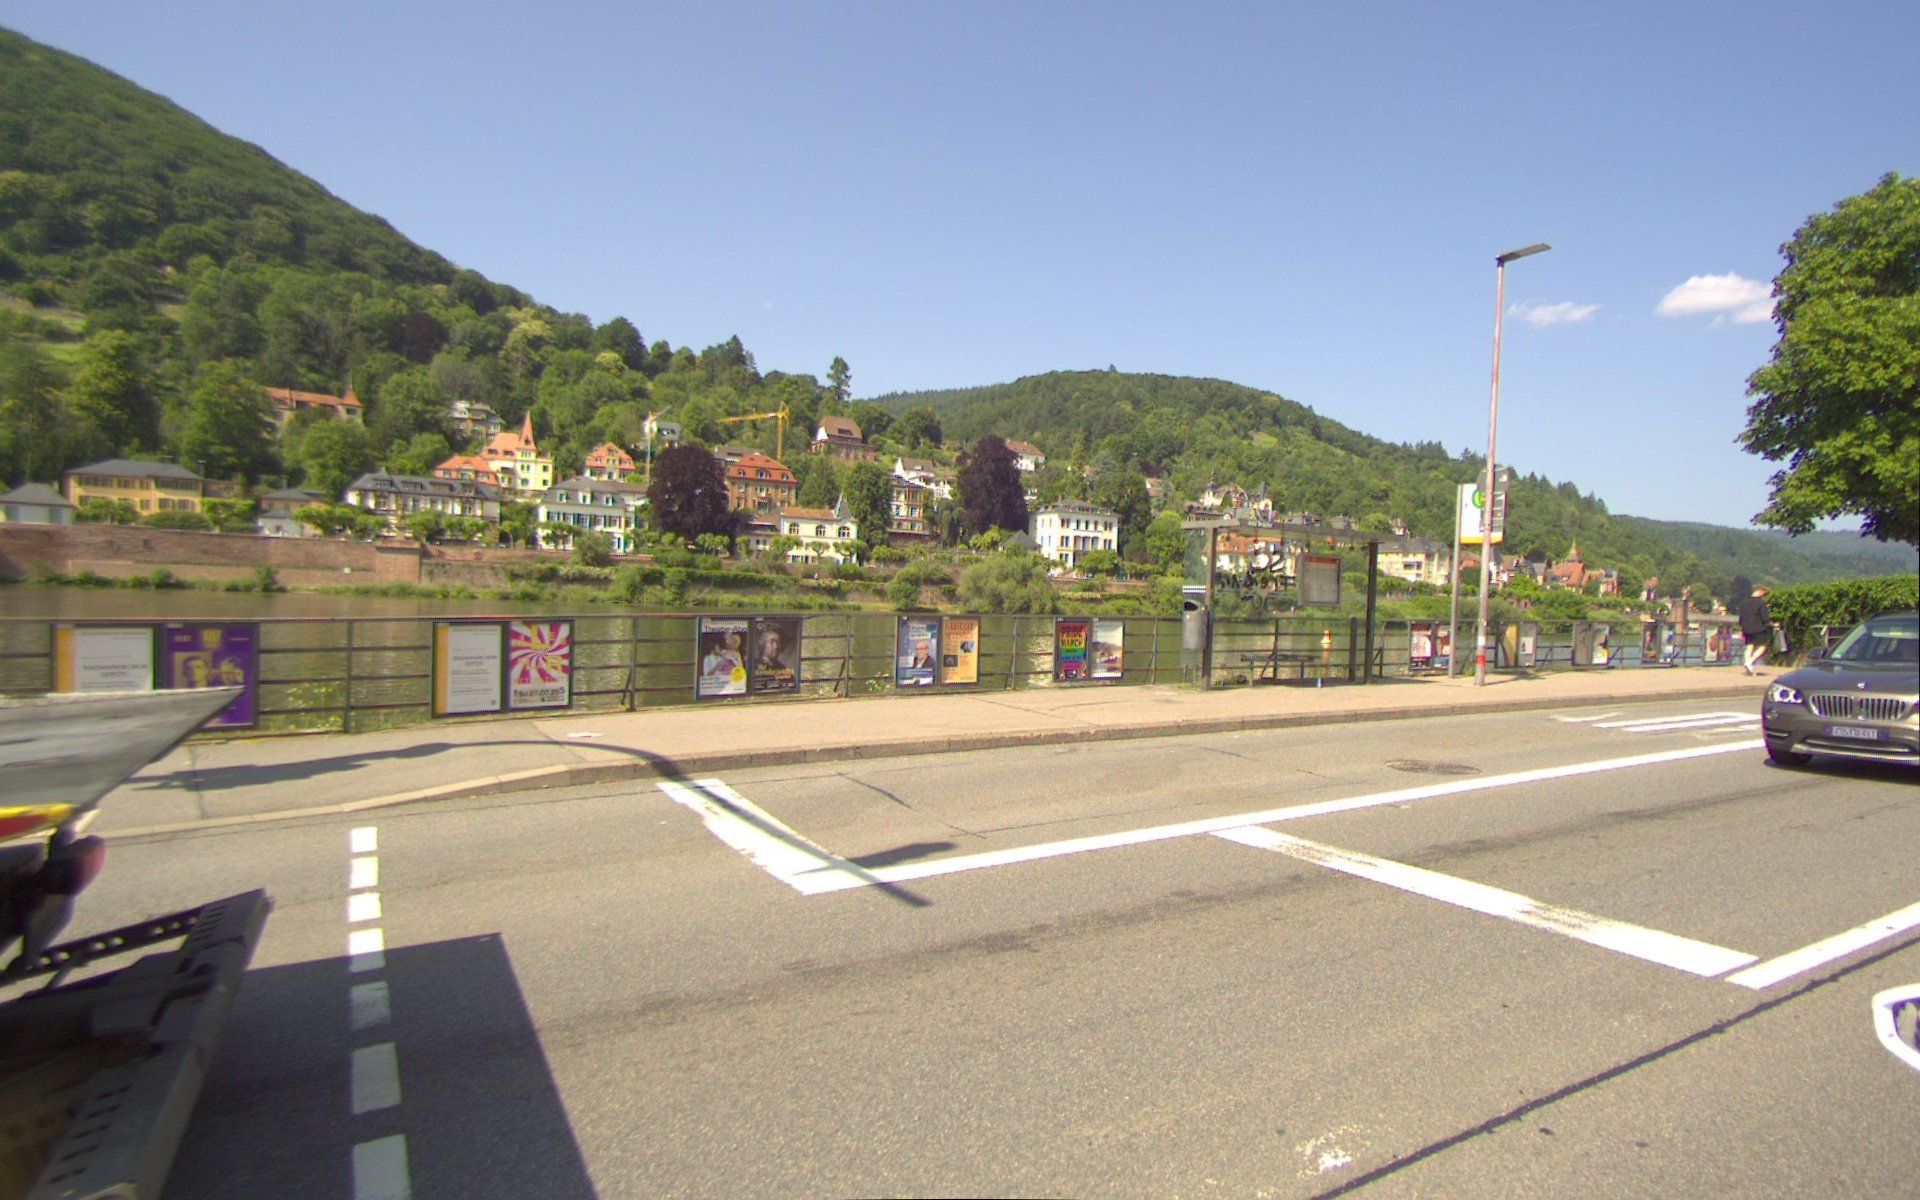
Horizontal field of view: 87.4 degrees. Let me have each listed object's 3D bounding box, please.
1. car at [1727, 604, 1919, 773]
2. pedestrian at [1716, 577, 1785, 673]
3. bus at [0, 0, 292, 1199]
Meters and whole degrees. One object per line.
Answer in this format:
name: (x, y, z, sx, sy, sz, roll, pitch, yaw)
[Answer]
car: (9.731, 0.767, 10.016, 4.294, 1.416, 1.807, 0, 0, -30)
pedestrian: (16.480, 0.521, 20.933, 0.997, 1.943, 0.750, 3, -1, -29)
bus: (-5.513, -0.065, 0.605, 8.350, 2.935, 2.583, 1, 0, -31)
